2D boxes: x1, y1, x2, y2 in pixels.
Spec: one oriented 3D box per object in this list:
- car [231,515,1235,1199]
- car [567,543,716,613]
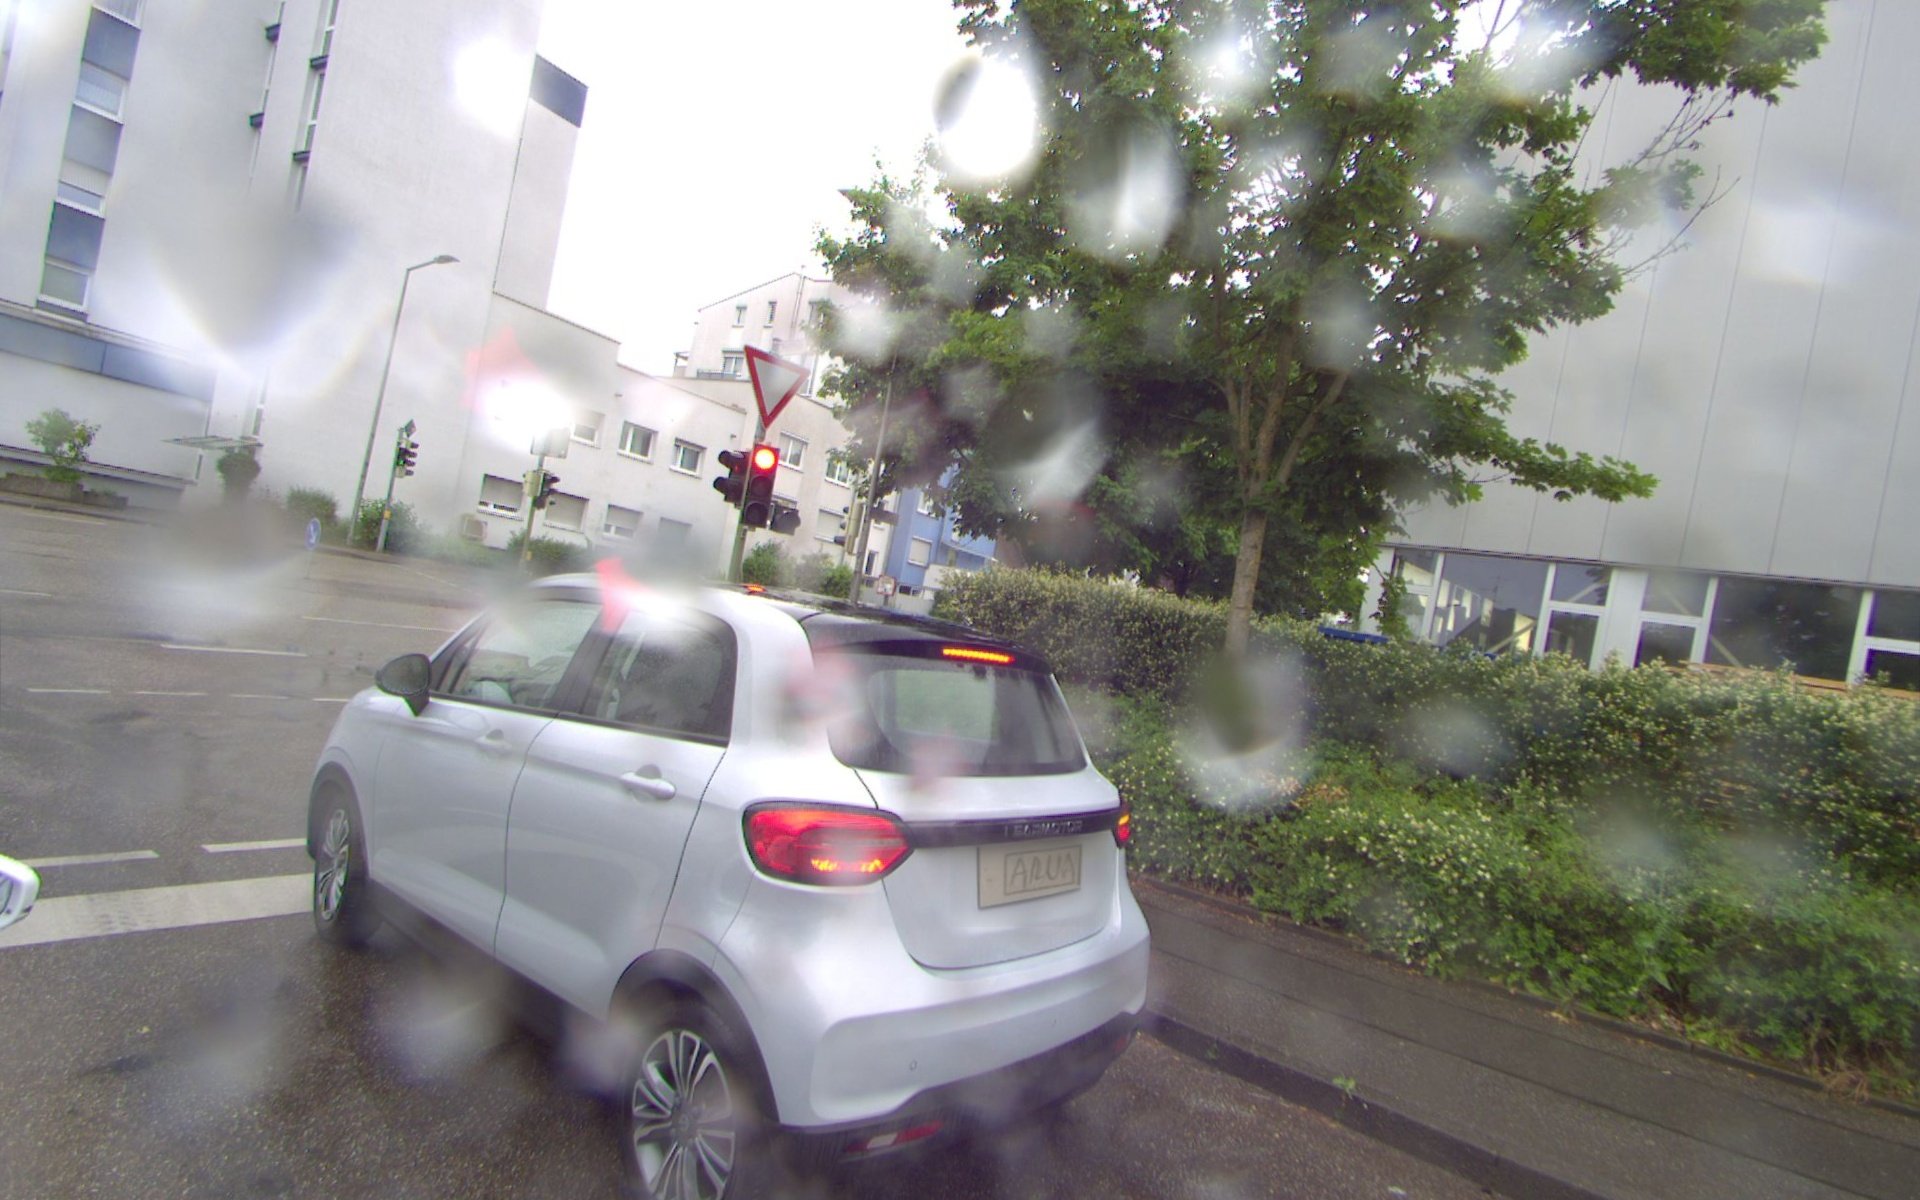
[{"bbox_3d":[-1.189,0.703,3.908,3.850,1.573,1.688,8,0,41],"label":"car"},{"bbox_3d":[-10.109,-0.681,32.192,1.717,1.504,4.134,12,1,40],"label":"car"}]
